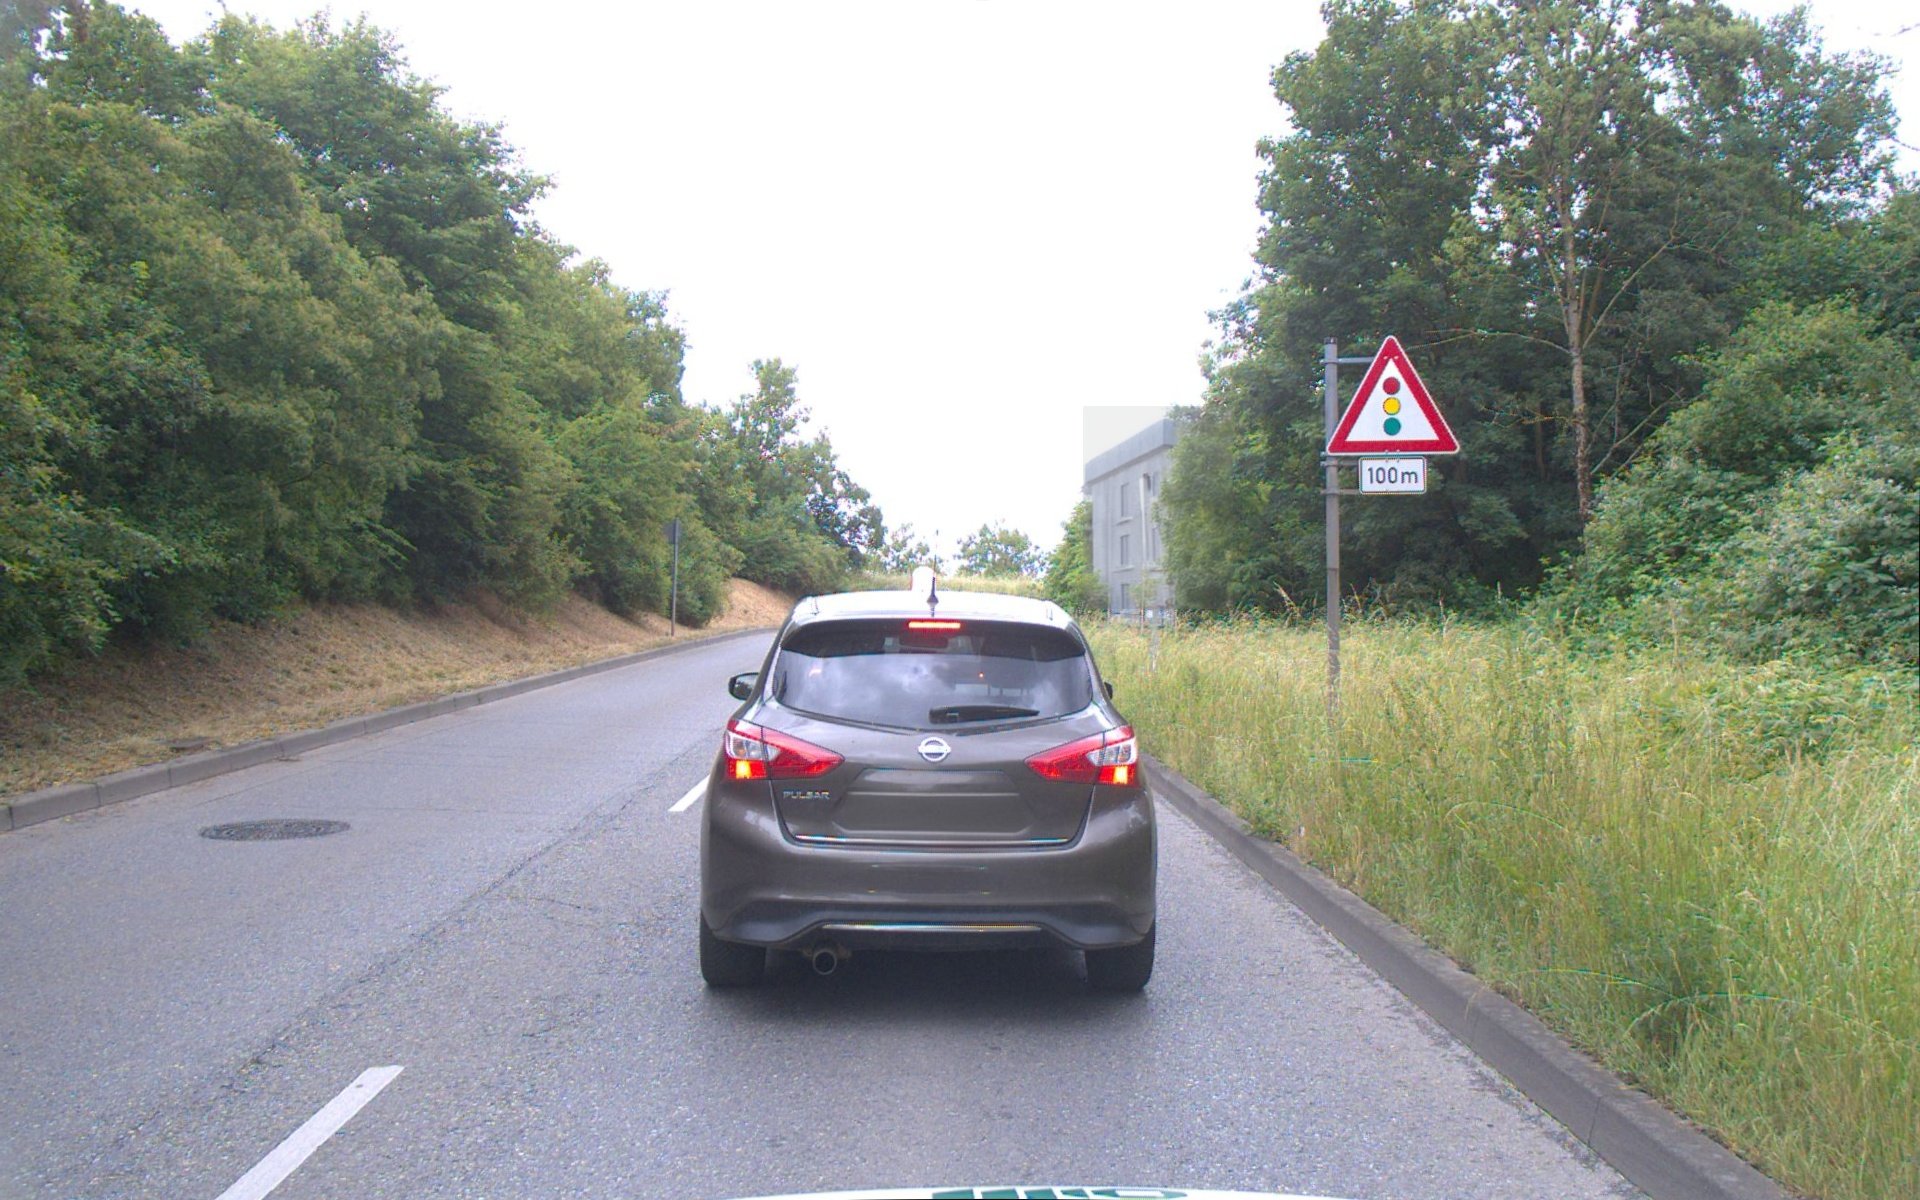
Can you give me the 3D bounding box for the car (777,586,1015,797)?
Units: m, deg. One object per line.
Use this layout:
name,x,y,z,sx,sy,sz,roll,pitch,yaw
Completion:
car,-0.494,0.680,14.278,1.793,1.583,3.624,0,0,-1

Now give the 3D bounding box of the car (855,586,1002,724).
car,-0.377,0.630,20.831,1.700,1.583,3.543,0,0,-1

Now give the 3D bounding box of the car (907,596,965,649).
car,-0.688,0.650,50.040,1.700,1.553,3.543,0,0,0

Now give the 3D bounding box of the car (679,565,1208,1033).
car,-0.122,0.675,7.391,1.793,1.583,3.497,0,0,-2

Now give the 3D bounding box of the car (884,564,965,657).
car,-0.796,0.209,36.692,1.701,1.968,3.542,0,0,-1

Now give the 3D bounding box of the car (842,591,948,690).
car,-1.059,0.646,28.423,1.700,1.583,3.543,0,0,-1
